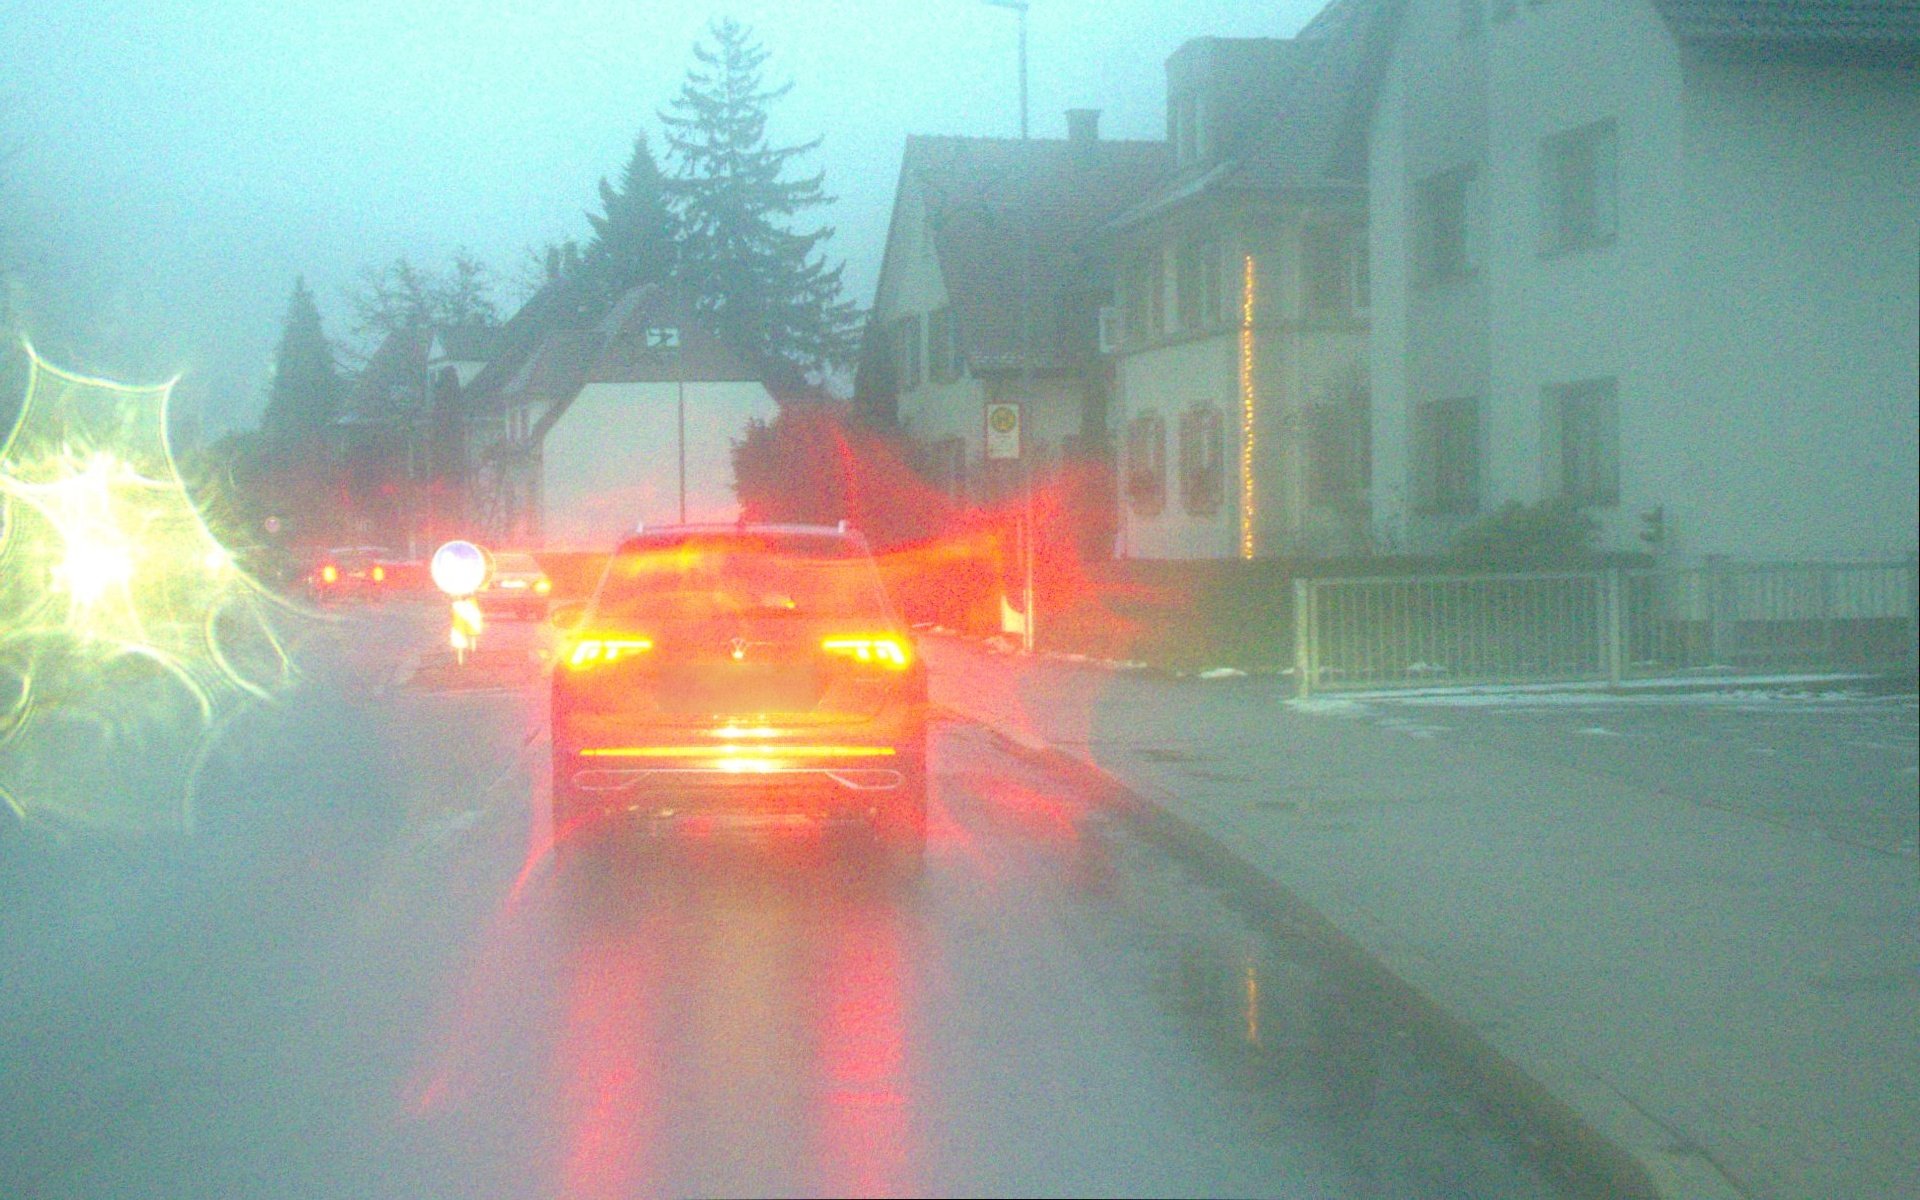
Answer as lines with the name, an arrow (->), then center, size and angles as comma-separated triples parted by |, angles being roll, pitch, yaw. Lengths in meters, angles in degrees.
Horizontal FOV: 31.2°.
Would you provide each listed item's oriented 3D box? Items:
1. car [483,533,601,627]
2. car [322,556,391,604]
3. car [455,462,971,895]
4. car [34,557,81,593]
car -> -9.121, -0.442, 74.684 | 2.309, 1.932, 5.019 | -1, 0, -9
car -> -17.603, -0.597, 100.127 | 1.842, 1.327, 3.939 | -1, 1, -12
car -> -1.219, 0.338, 18.127 | 2.309, 1.932, 5.018 | -1, 0, -2
car -> -40.157, -1.126, 152.899 | 1.823, 1.548, 4.001 | -2, 1, -16
